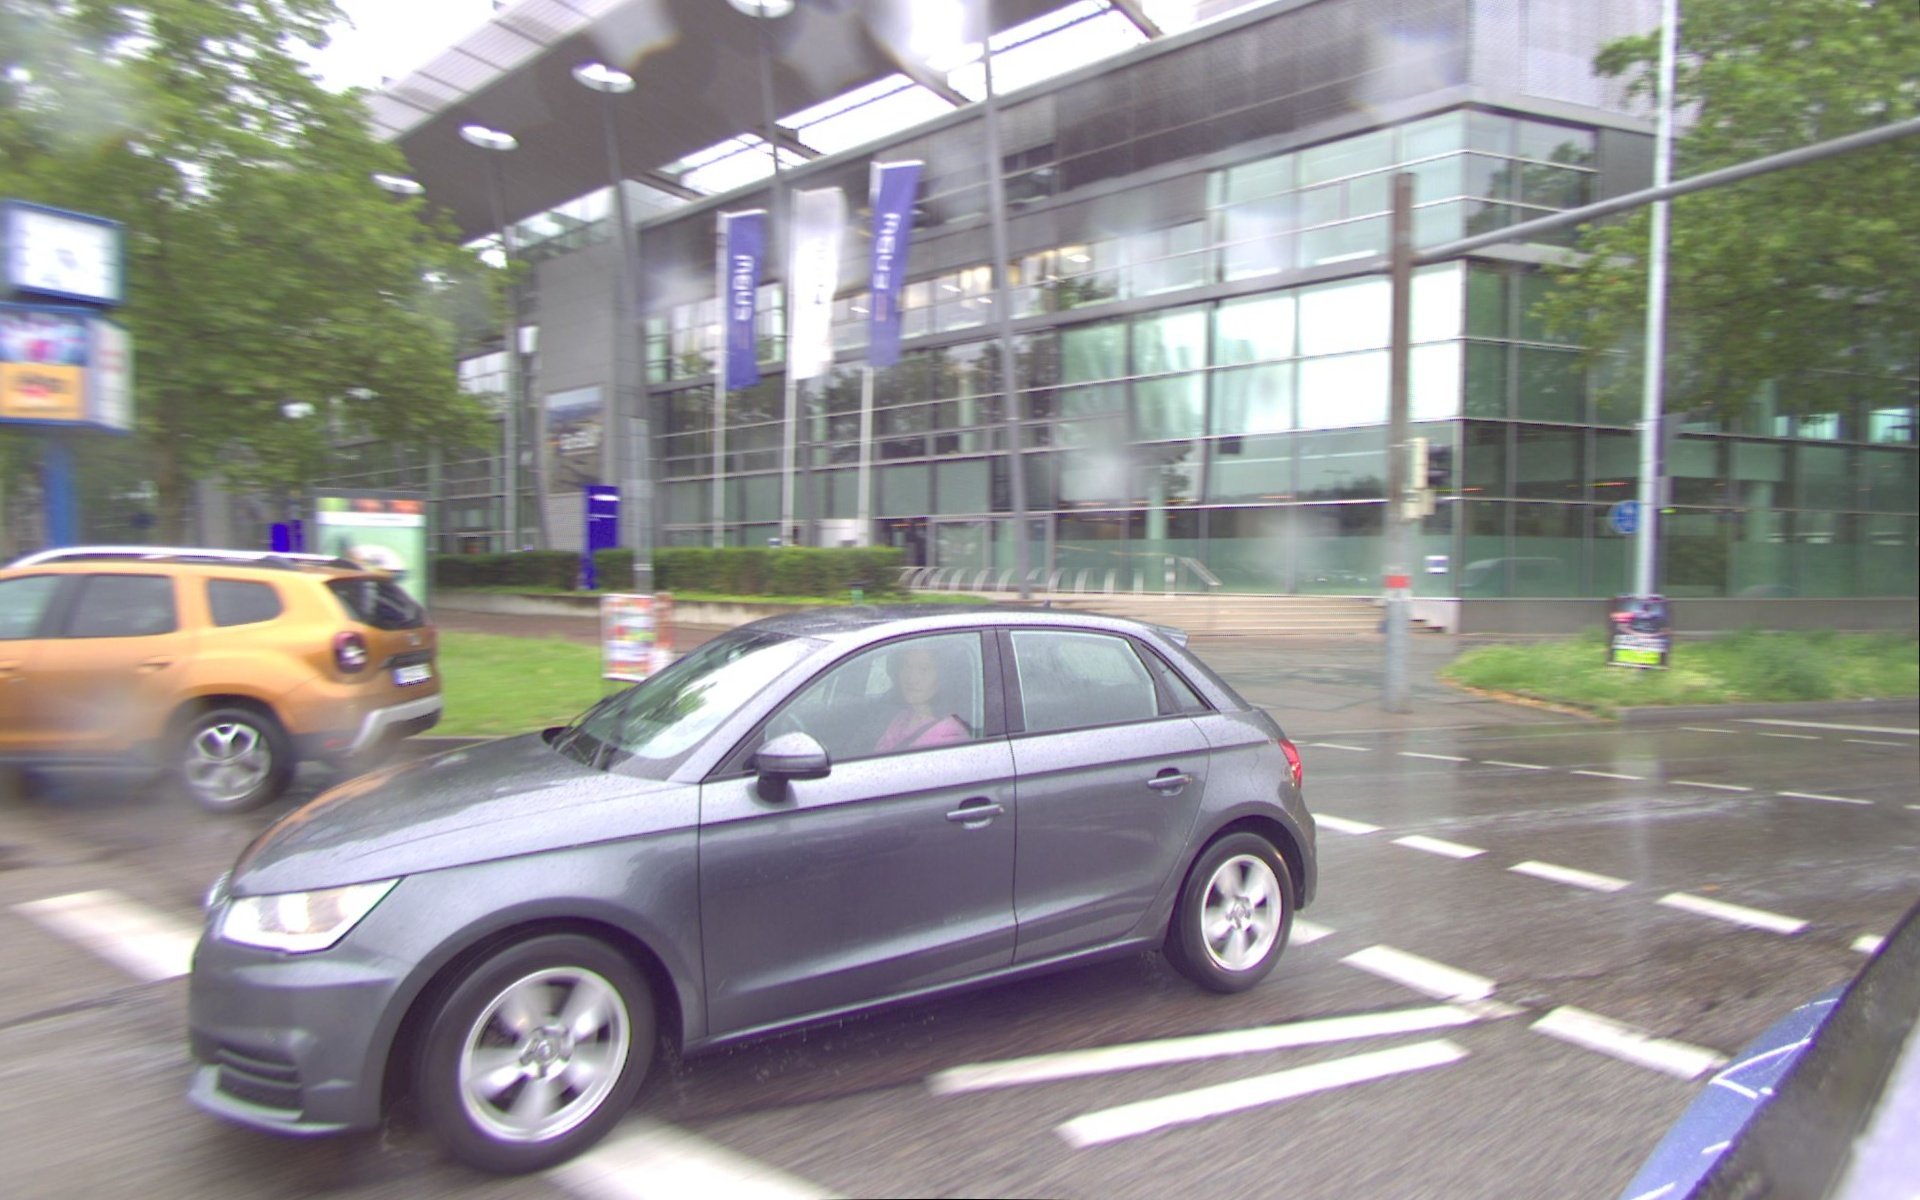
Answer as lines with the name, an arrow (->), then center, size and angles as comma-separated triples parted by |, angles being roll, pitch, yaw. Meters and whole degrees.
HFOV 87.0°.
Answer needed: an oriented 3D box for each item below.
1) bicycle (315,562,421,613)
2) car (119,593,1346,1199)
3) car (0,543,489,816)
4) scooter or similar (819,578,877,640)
bicycle -> -17.468, -0.376, 29.901 | 2.618, 1.461, 0.807 | 0, 0, -6
car -> -0.568, 0.687, 3.784 | 3.678, 1.416, 1.844 | 0, 0, -29
car -> -5.772, 0.452, 7.096 | 4.086, 1.652, 1.909 | 0, 2, -6
scooter or similar -> -2.180, 0.158, 19.596 | 1.167, 1.152, 0.337 | 2, 2, 34
